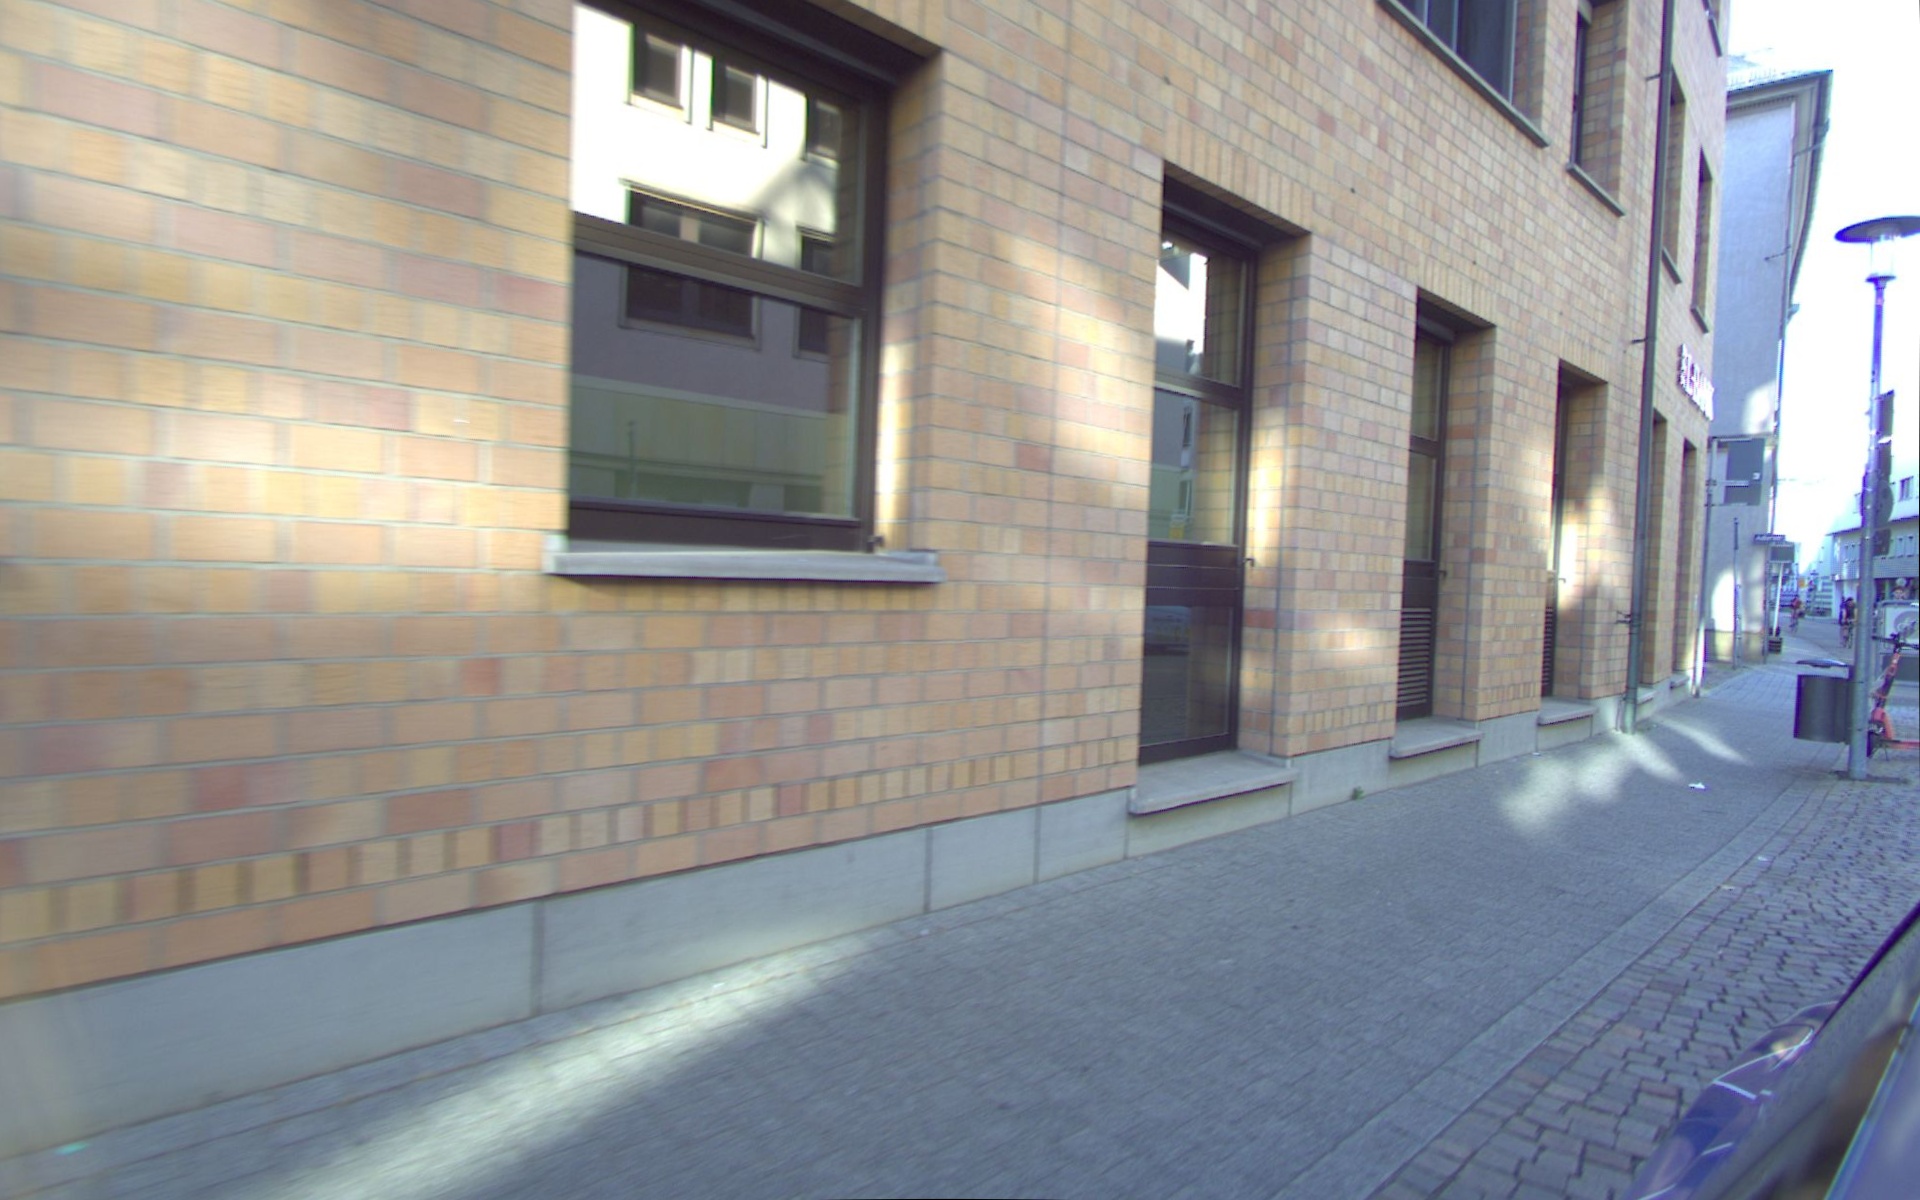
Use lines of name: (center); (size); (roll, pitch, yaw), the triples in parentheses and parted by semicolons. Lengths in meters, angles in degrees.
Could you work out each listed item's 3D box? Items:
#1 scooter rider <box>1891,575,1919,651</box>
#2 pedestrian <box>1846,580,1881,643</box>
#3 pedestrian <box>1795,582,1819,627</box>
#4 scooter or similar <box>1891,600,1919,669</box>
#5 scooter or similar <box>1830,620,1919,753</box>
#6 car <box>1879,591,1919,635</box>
scooter rider: (20.556, 0.276, 21.809); (0.644, 1.613, 0.592); (1, 1, 38)
pedestrian: (30.069, 0.365, 33.696); (0.712, 2.038, 0.690); (3, 2, 37)
pedestrian: (39.353, 0.178, 47.006); (0.712, 2.038, 0.690); (3, 2, 37)
scooter or similar: (20.626, 0.730, 21.887); (0.521, 1.413, 1.535); (4, 2, 37)
scooter or similar: (9.554, 0.856, 10.036); (1.390, 1.251, 0.539); (2, 0, -4)
car: (37.496, 0.540, 39.595); (1.847, 1.612, 3.755); (4, 1, 37)
